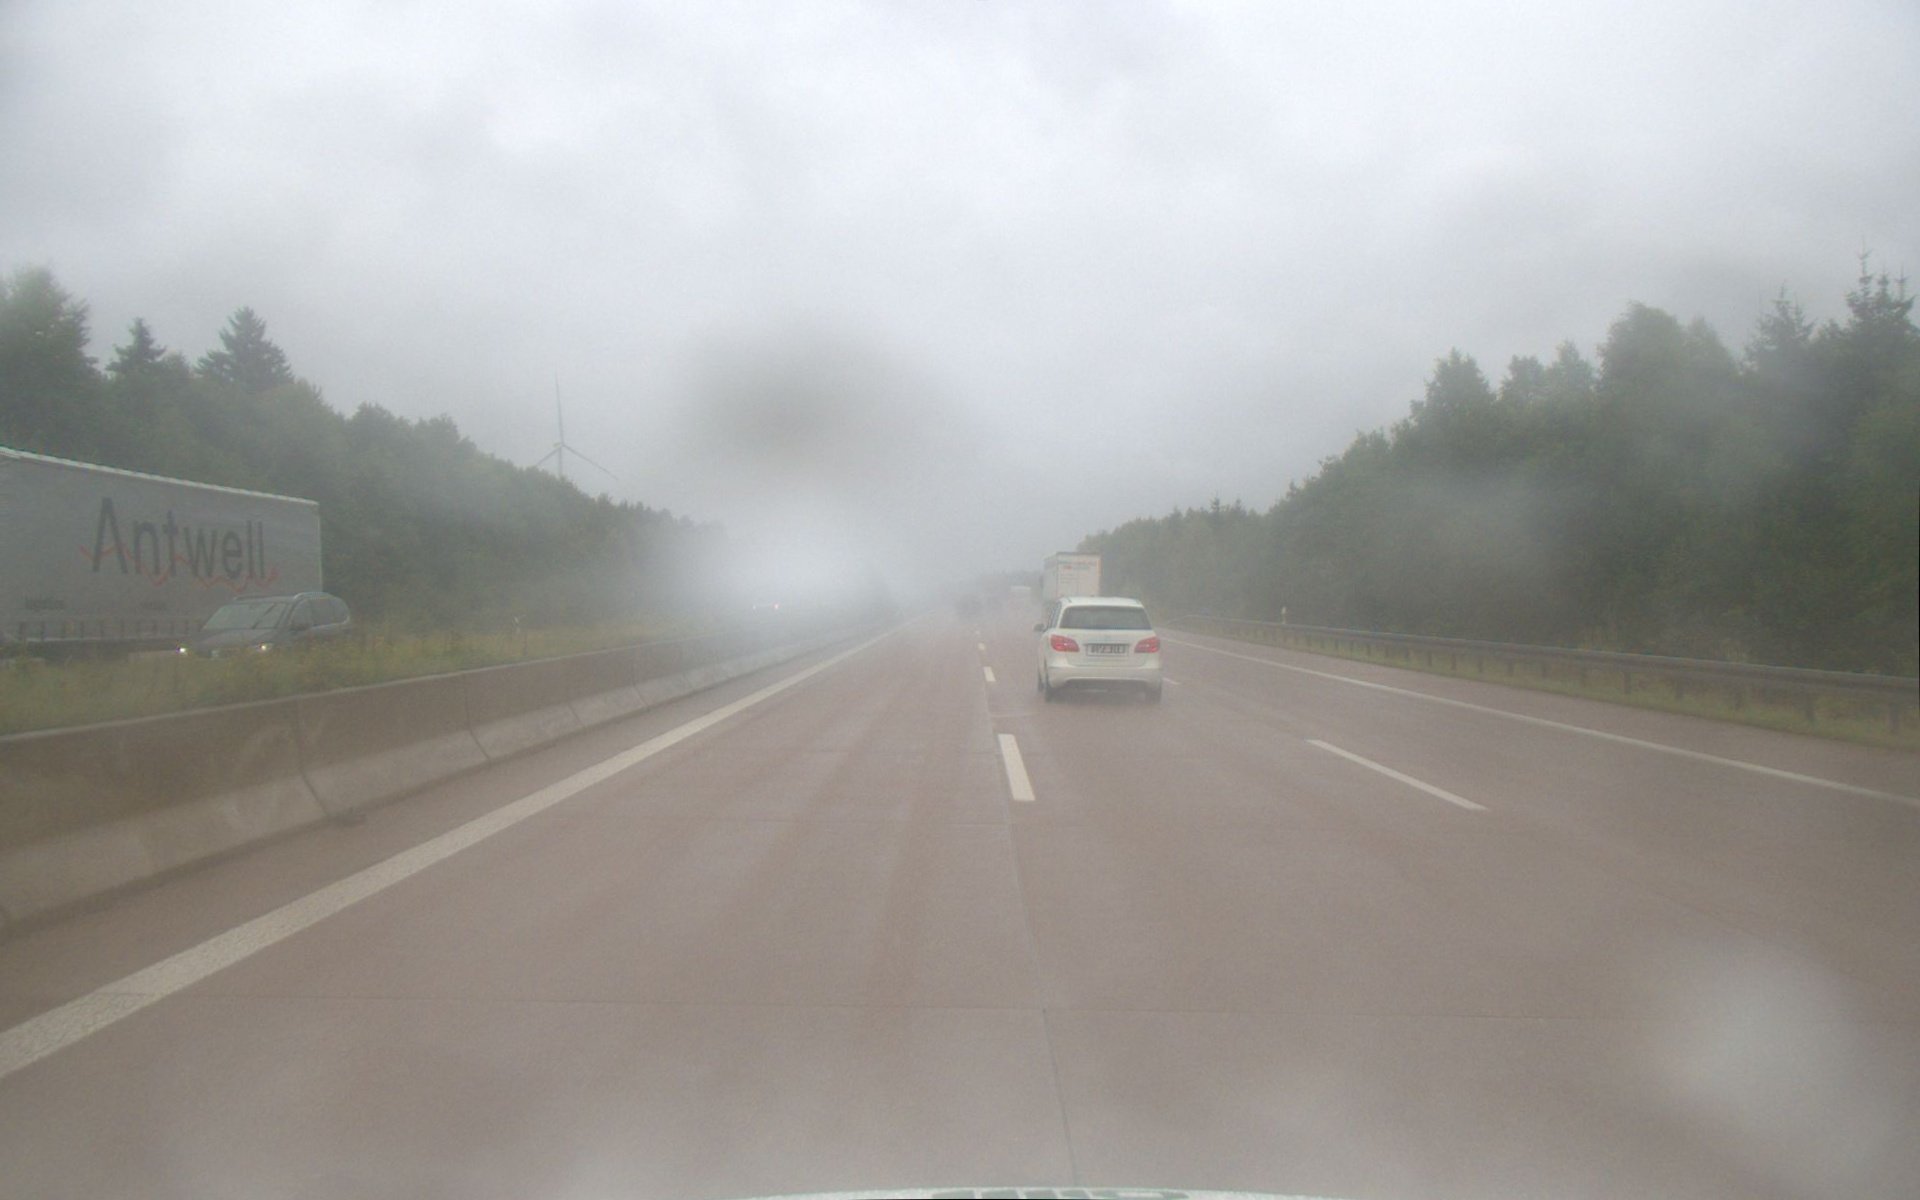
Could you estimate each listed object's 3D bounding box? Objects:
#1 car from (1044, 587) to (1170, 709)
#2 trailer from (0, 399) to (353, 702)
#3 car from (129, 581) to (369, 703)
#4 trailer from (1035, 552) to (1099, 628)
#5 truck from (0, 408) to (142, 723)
[{"bbox_3d":[2.286,0.703,26.695,1.770,1.758,4.745,1,0,2],"label":"car"},{"bbox_3d":[-16.989,-0.869,34.390,3.678,5.039,13.679,1,0,0],"label":"trailer"},{"bbox_3d":[-13.022,0.709,30.726,2.259,2.049,5.151,1,0,-1],"label":"car"},{"bbox_3d":[6.447,-0.646,101.381,2.794,4.305,13.130,-1,1,-1],"label":"trailer"},{"bbox_3d":[-16.925,-0.569,26.858,3.604,4.956,7.254,1,0,-1],"label":"truck"}]
